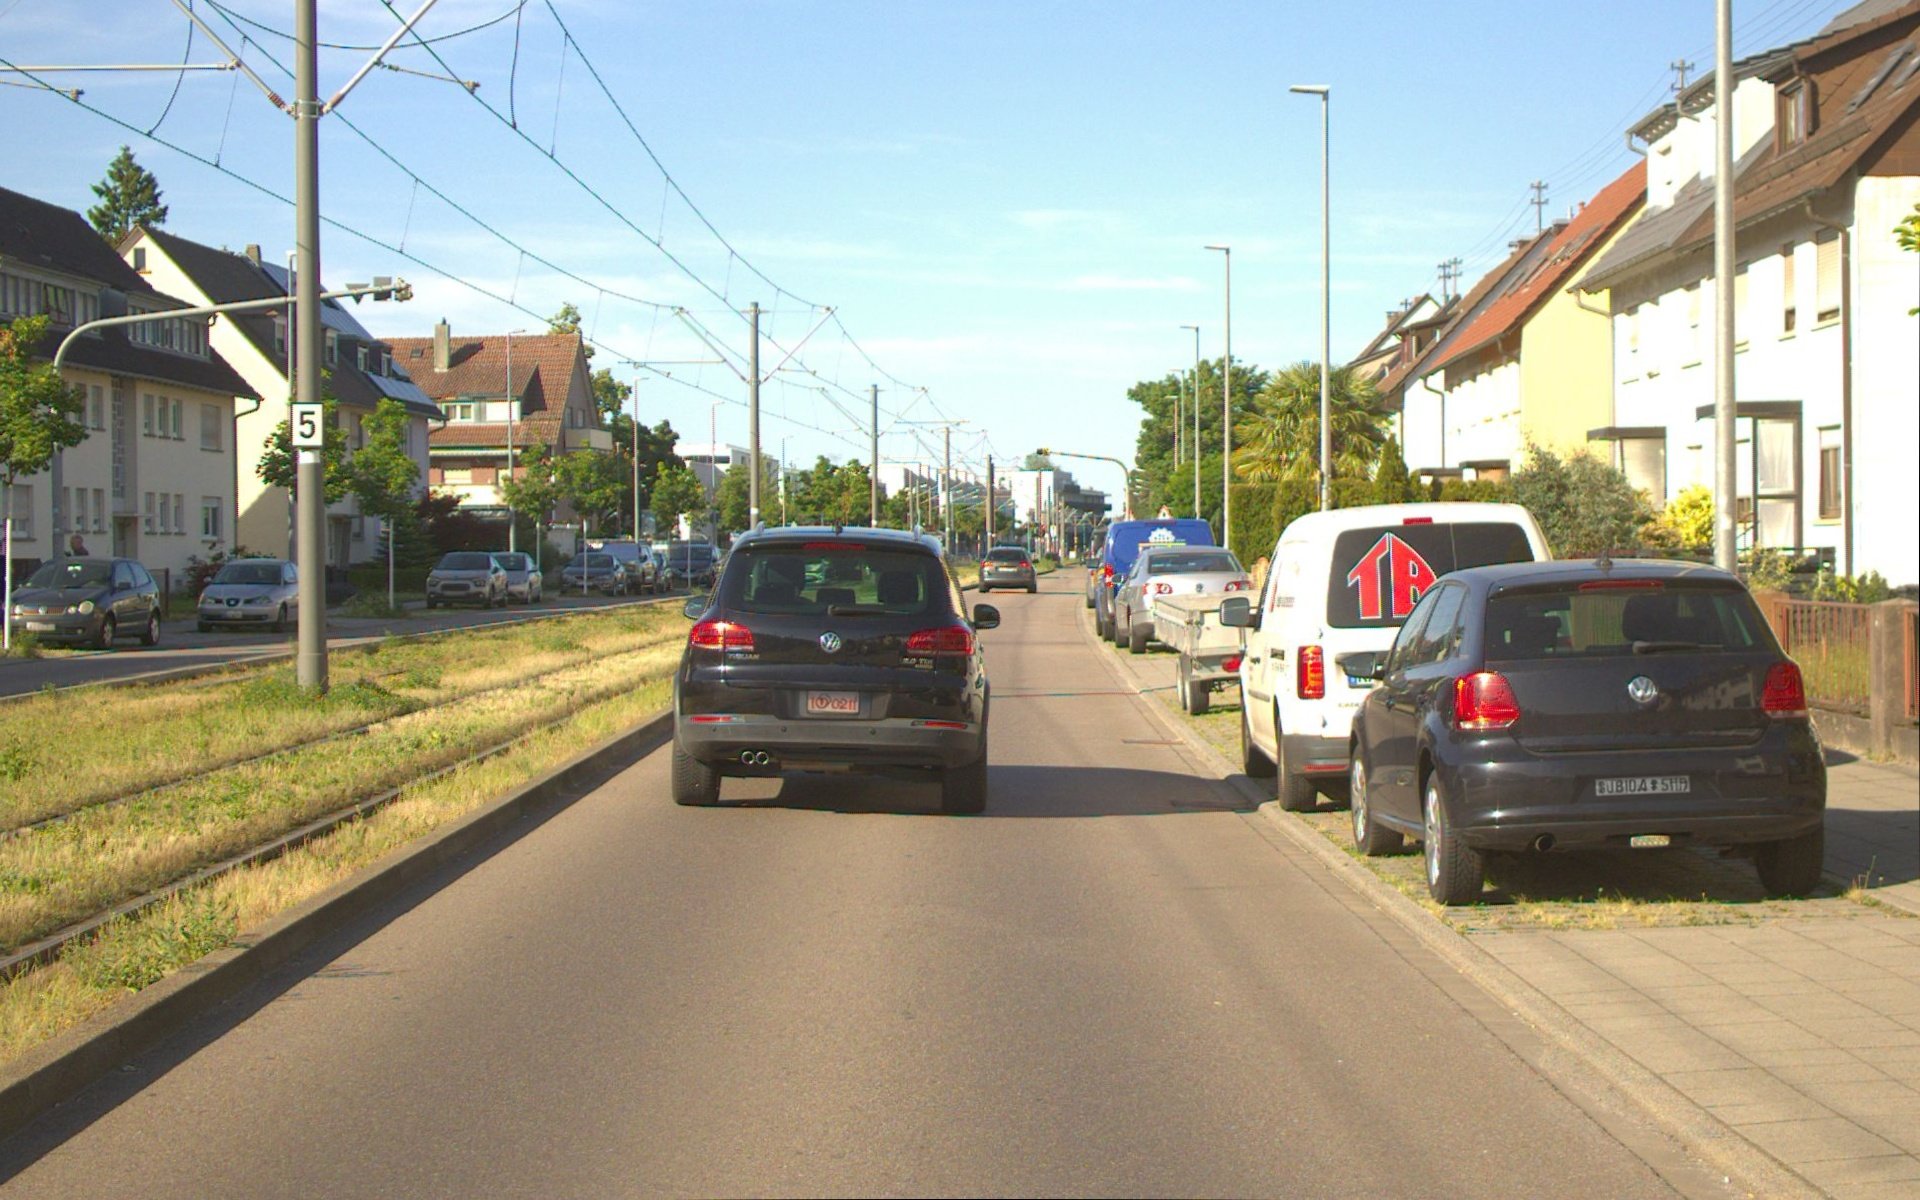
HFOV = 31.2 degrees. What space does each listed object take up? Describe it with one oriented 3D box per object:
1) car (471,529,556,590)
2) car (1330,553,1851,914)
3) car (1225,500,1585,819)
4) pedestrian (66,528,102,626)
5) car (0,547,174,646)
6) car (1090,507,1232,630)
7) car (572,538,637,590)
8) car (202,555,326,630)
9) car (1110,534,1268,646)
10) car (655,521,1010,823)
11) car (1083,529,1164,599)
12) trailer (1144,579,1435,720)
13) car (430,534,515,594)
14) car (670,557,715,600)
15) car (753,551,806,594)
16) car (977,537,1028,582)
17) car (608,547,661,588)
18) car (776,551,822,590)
[{"bbox_3d":[-12.560,-1.158,96.824,1.803,1.626,4.000,-1,1,1],"label":"car"},{"bbox_3d":[2.808,0.521,16.164,1.671,1.448,4.126,-1,1,0],"label":"car"},{"bbox_3d":[2.692,0.286,21.720,1.690,1.770,4.656,-1,1,1],"label":"car"},{"bbox_3d":[-15.568,-0.410,61.115,0.468,1.740,0.536,-1,1,0],"label":"pedestrian"},{"bbox_3d":[-13.889,-0.086,54.679,1.619,1.448,3.717,-1,1,5],"label":"car"},{"bbox_3d":[3.175,-0.533,55.157,1.993,1.855,4.917,-1,1,0],"label":"car"},{"bbox_3d":[-11.659,-1.169,112.841,1.660,1.575,4.000,-1,-1,1],"label":"car"},{"bbox_3d":[-13.645,-0.128,67.541,1.618,1.404,3.717,-1,-1,1],"label":"car"},{"bbox_3d":[3.198,-0.181,48.788,1.786,1.436,4.460,-2,1,-1],"label":"car"},{"bbox_3d":[-0.893,0.380,21.339,1.811,1.665,4.259,1,1,-7],"label":"car"},{"bbox_3d":[3.645,-0.817,77.162,1.645,1.529,3.864,-1,1,0],"label":"car"},{"bbox_3d":[2.980,0.414,32.040,2.204,1.090,4.372,-2,1,-1],"label":"trailer"},{"bbox_3d":[-12.836,-0.964,90.670,1.659,1.491,3.579,-1,1,1],"label":"car"},{"bbox_3d":[-10.559,-0.859,135.799,1.465,1.671,3.287,-1,0,0],"label":"car"},{"bbox_3d":[-7.288,-1.113,139.343,1.873,1.649,4.000,-1,-1,0],"label":"car"},{"bbox_3d":[1.357,-1.314,110.157,1.572,1.386,3.614,-1,1,0],"label":"car"},{"bbox_3d":[-11.234,-1.138,118.858,1.515,1.357,3.590,-1,1,0],"label":"car"},{"bbox_3d":[-7.135,-1.304,152.538,1.765,1.611,4.000,-1,-1,0],"label":"car"}]
